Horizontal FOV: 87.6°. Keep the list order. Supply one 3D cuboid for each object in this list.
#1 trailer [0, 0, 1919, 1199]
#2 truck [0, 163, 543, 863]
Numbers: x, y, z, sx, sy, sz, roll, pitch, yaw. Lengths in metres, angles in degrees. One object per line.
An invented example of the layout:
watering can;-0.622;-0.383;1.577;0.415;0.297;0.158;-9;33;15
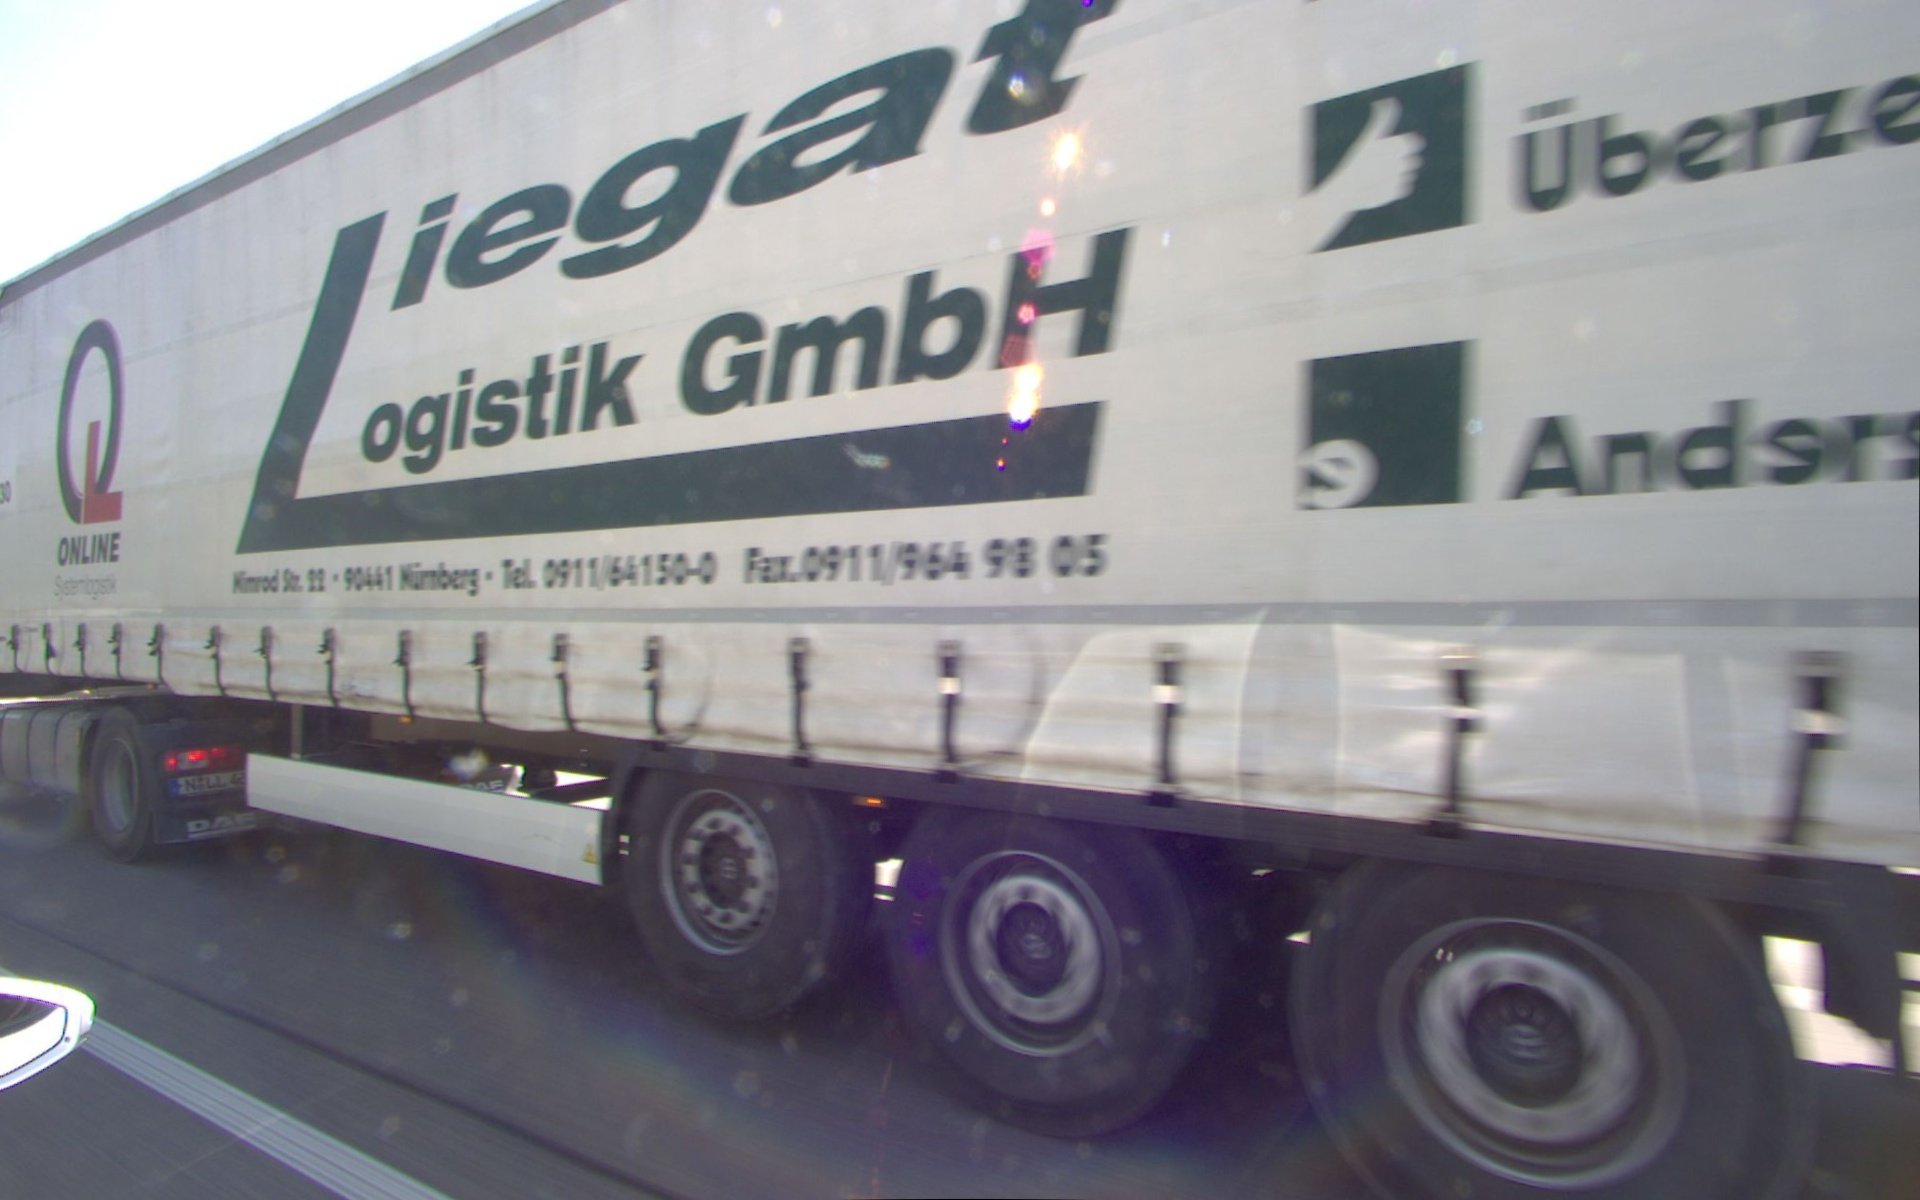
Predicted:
trailer;-0.938;-0.591;5.122;13.055;4.259;2.781;0;-1;33
truck;-6.725;-0.490;8.839;5.786;4.259;2.781;0;-1;33
